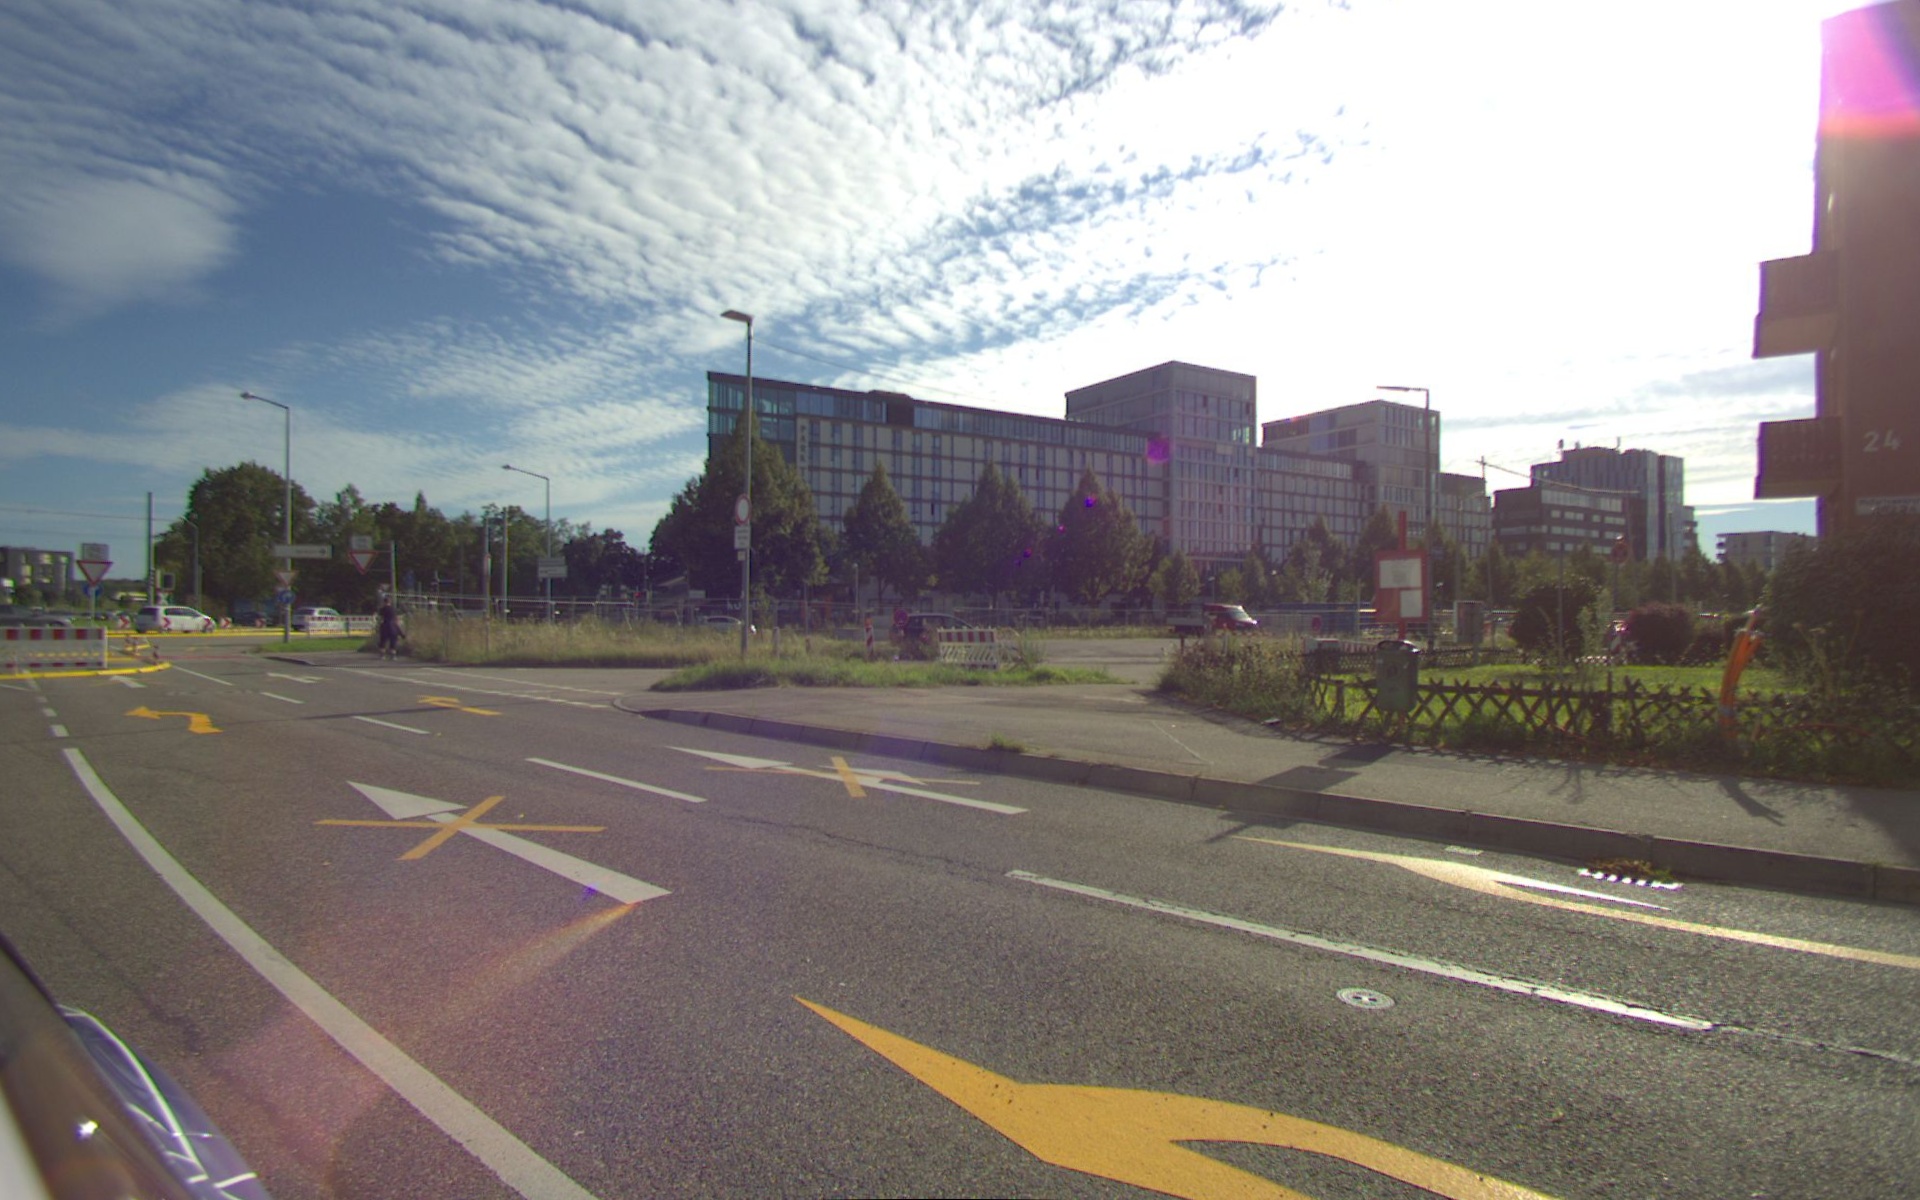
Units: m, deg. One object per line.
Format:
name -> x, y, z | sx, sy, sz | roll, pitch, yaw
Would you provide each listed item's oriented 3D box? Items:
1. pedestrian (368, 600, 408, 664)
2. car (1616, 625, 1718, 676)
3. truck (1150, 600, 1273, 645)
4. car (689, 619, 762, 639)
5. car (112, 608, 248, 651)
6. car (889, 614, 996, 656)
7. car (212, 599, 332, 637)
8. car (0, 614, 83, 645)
pedestrian -> -16.552, 0.914, 29.281 | 0.739, 1.838, 0.705 | -1, 0, 19
car -> 26.068, 1.822, 37.304 | 3.936, 1.567, 2.004 | -3, 0, -39
truck -> 17.145, 1.457, 69.664 | 3.306, 2.875, 8.135 | 0, 0, -33
car -> -16.859, 2.048, 72.862 | 4.731, 1.362, 2.005 | 1, -1, -33
car -> -41.234, 1.507, 53.694 | 2.451, 2.074, 5.483 | 0, 0, 11
car -> -0.687, 1.441, 41.932 | 4.354, 1.670, 1.999 | 0, 0, 3
car -> -40.573, 1.011, 59.903 | 2.454, 2.074, 5.779 | 0, 0, 14
car -> -43.195, 1.334, 45.916 | 1.990, 1.362, 4.769 | 0, -1, 26
